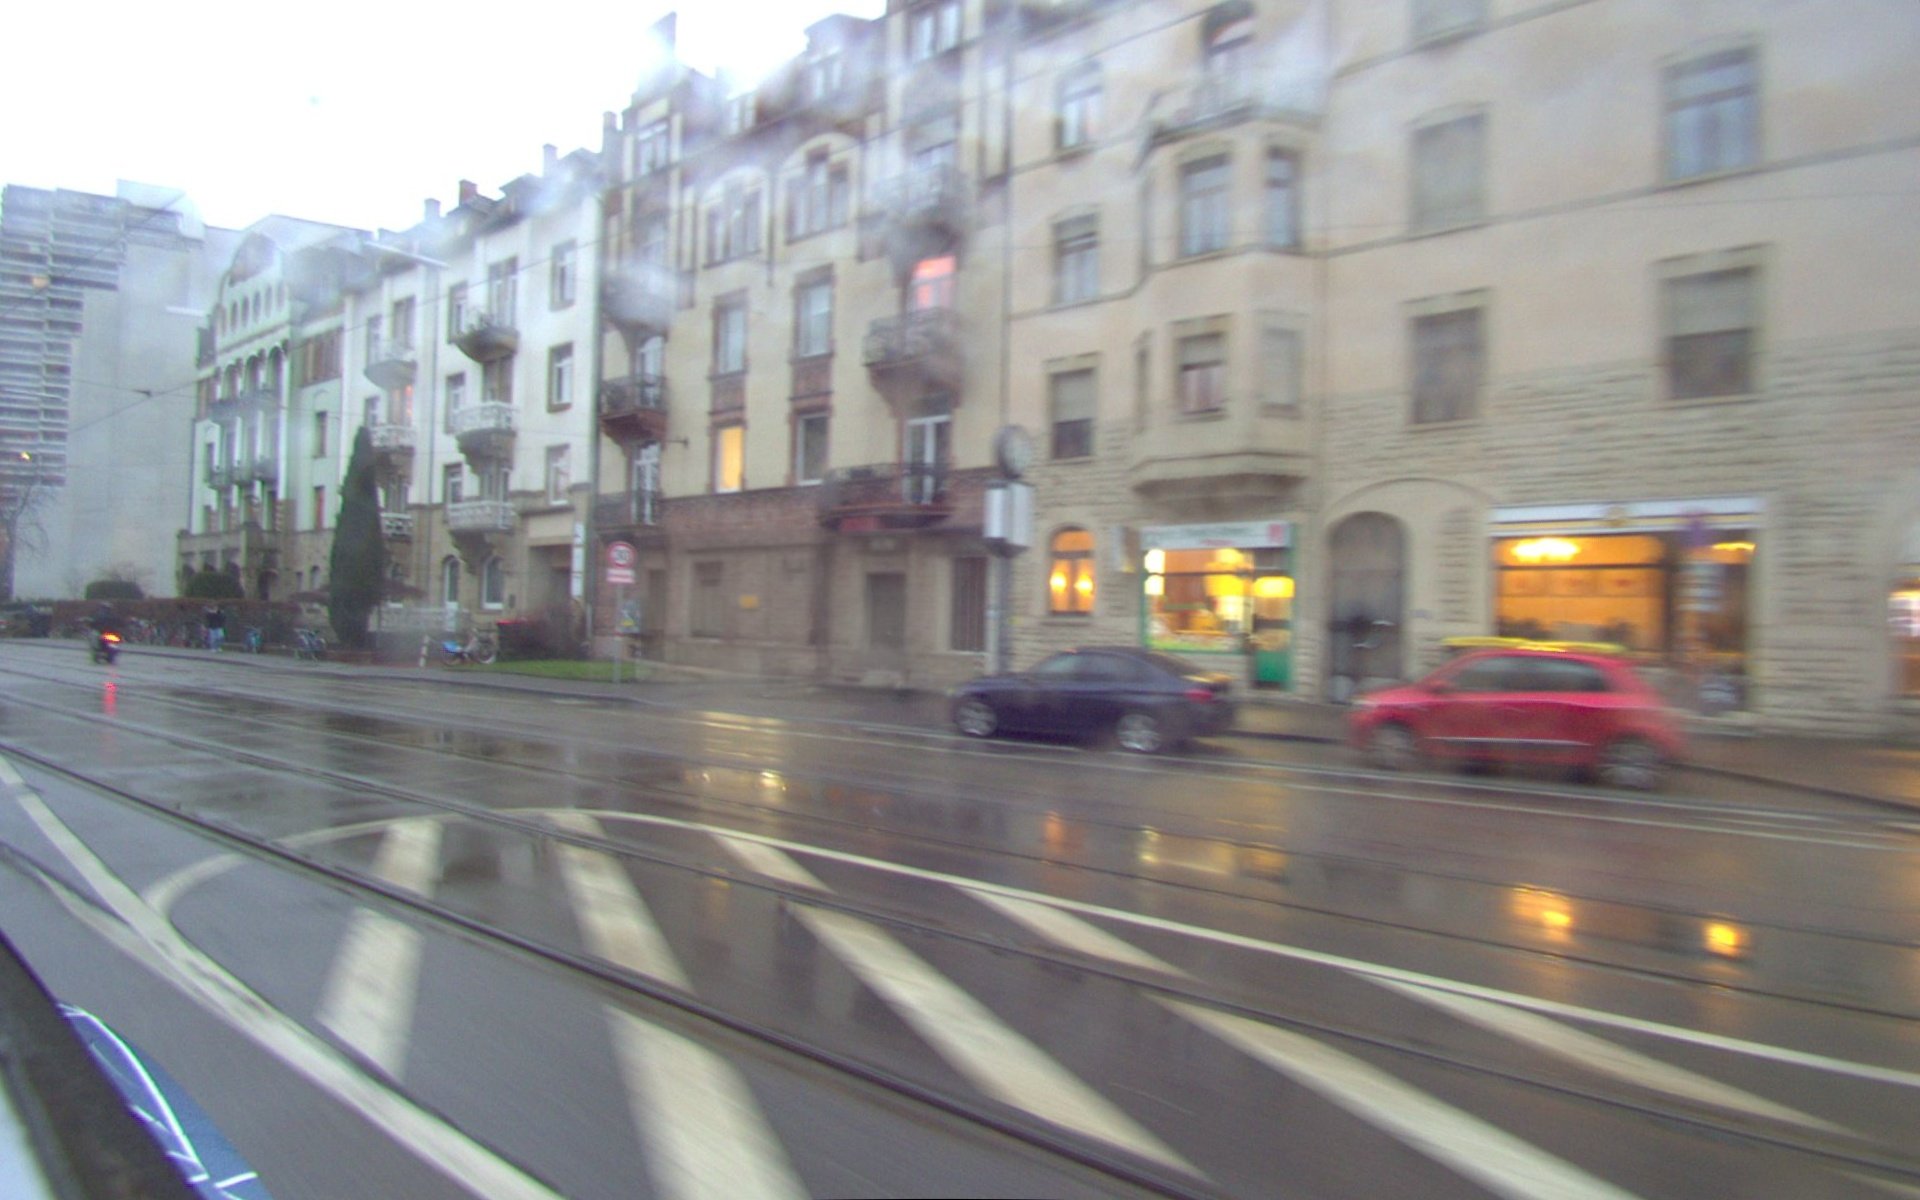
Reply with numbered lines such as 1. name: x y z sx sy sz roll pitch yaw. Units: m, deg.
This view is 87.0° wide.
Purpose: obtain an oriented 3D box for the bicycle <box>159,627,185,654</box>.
1. bicycle: -31.241 1.615 40.111 1.710 1.014 0.430 0 1 38

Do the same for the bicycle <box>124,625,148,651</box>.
1. bicycle: -34.274 1.570 42.068 1.603 1.014 0.430 0 1 38

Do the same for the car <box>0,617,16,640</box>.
1. car: -61.960 1.830 63.449 1.724 1.424 3.795 0 1 37

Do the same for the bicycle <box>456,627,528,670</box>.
1. bicycle: -14.071 1.452 30.470 0.530 1.167 1.967 0 1 36

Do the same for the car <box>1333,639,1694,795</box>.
1. car: 6.681 1.318 12.488 3.665 1.528 1.660 0 1 31

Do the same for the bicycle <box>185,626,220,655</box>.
1. bicycle: -28.547 1.506 38.121 2.206 1.014 0.518 0 1 38

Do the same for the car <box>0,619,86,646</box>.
1. car: -49.341 1.725 53.999 1.724 1.424 3.794 -1 -2 37

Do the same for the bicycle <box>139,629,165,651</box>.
1. bicycle: -32.786 1.626 41.068 1.765 0.838 0.437 0 1 38

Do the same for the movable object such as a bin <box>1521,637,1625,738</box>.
1. movable object such as a bin: 9.453 1.298 15.590 1.278 1.382 1.337 0 1 35

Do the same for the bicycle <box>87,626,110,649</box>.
1. bicycle: -38.777 1.682 45.541 1.878 1.014 0.430 0 1 38

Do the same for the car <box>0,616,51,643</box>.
1. car: -53.933 1.680 56.993 1.724 1.424 3.795 0 1 37

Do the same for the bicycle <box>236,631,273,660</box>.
1. bicycle: -24.276 1.550 34.807 2.208 0.896 0.524 0 1 41

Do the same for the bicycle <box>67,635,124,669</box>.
1. bicycle: -24.641 1.477 28.840 1.706 0.896 0.642 0 -4 29

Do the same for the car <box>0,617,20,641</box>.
1. car: -58.732 1.787 60.275 1.724 1.424 3.795 -1 0 37

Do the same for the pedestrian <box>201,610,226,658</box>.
1. pedestrian: -26.213 1.167 35.517 0.448 1.654 0.567 0 0 33

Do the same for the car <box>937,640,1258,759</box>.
1. car: 1.997 1.386 15.284 4.496 1.400 1.787 0 1 34

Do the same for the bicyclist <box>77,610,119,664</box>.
1. bicyclist: -24.574 1.064 28.848 0.655 1.512 0.651 0 -4 29

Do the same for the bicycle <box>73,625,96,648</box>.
1. bicycle: -40.410 1.690 46.705 1.878 1.014 0.430 0 1 38

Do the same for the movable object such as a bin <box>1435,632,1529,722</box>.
1. movable object such as a bin: 8.712 1.251 16.886 1.272 1.382 0.993 0 1 35

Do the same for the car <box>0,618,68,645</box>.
1. car: -51.582 1.724 55.457 1.724 1.424 3.794 -1 -3 37

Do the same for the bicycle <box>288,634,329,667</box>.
1. bicycle: -20.503 1.576 31.842 2.085 0.947 0.524 0 1 41

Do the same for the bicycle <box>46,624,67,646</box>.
1. bicycle: -44.352 1.708 49.675 1.878 1.014 0.464 0 1 38

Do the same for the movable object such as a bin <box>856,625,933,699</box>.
1. movable object such as a bin: -1.367 1.282 21.311 1.072 1.442 1.225 0 1 35

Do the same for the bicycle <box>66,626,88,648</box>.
1. bicycle: -41.983 1.750 48.108 1.878 1.014 0.430 0 1 38
